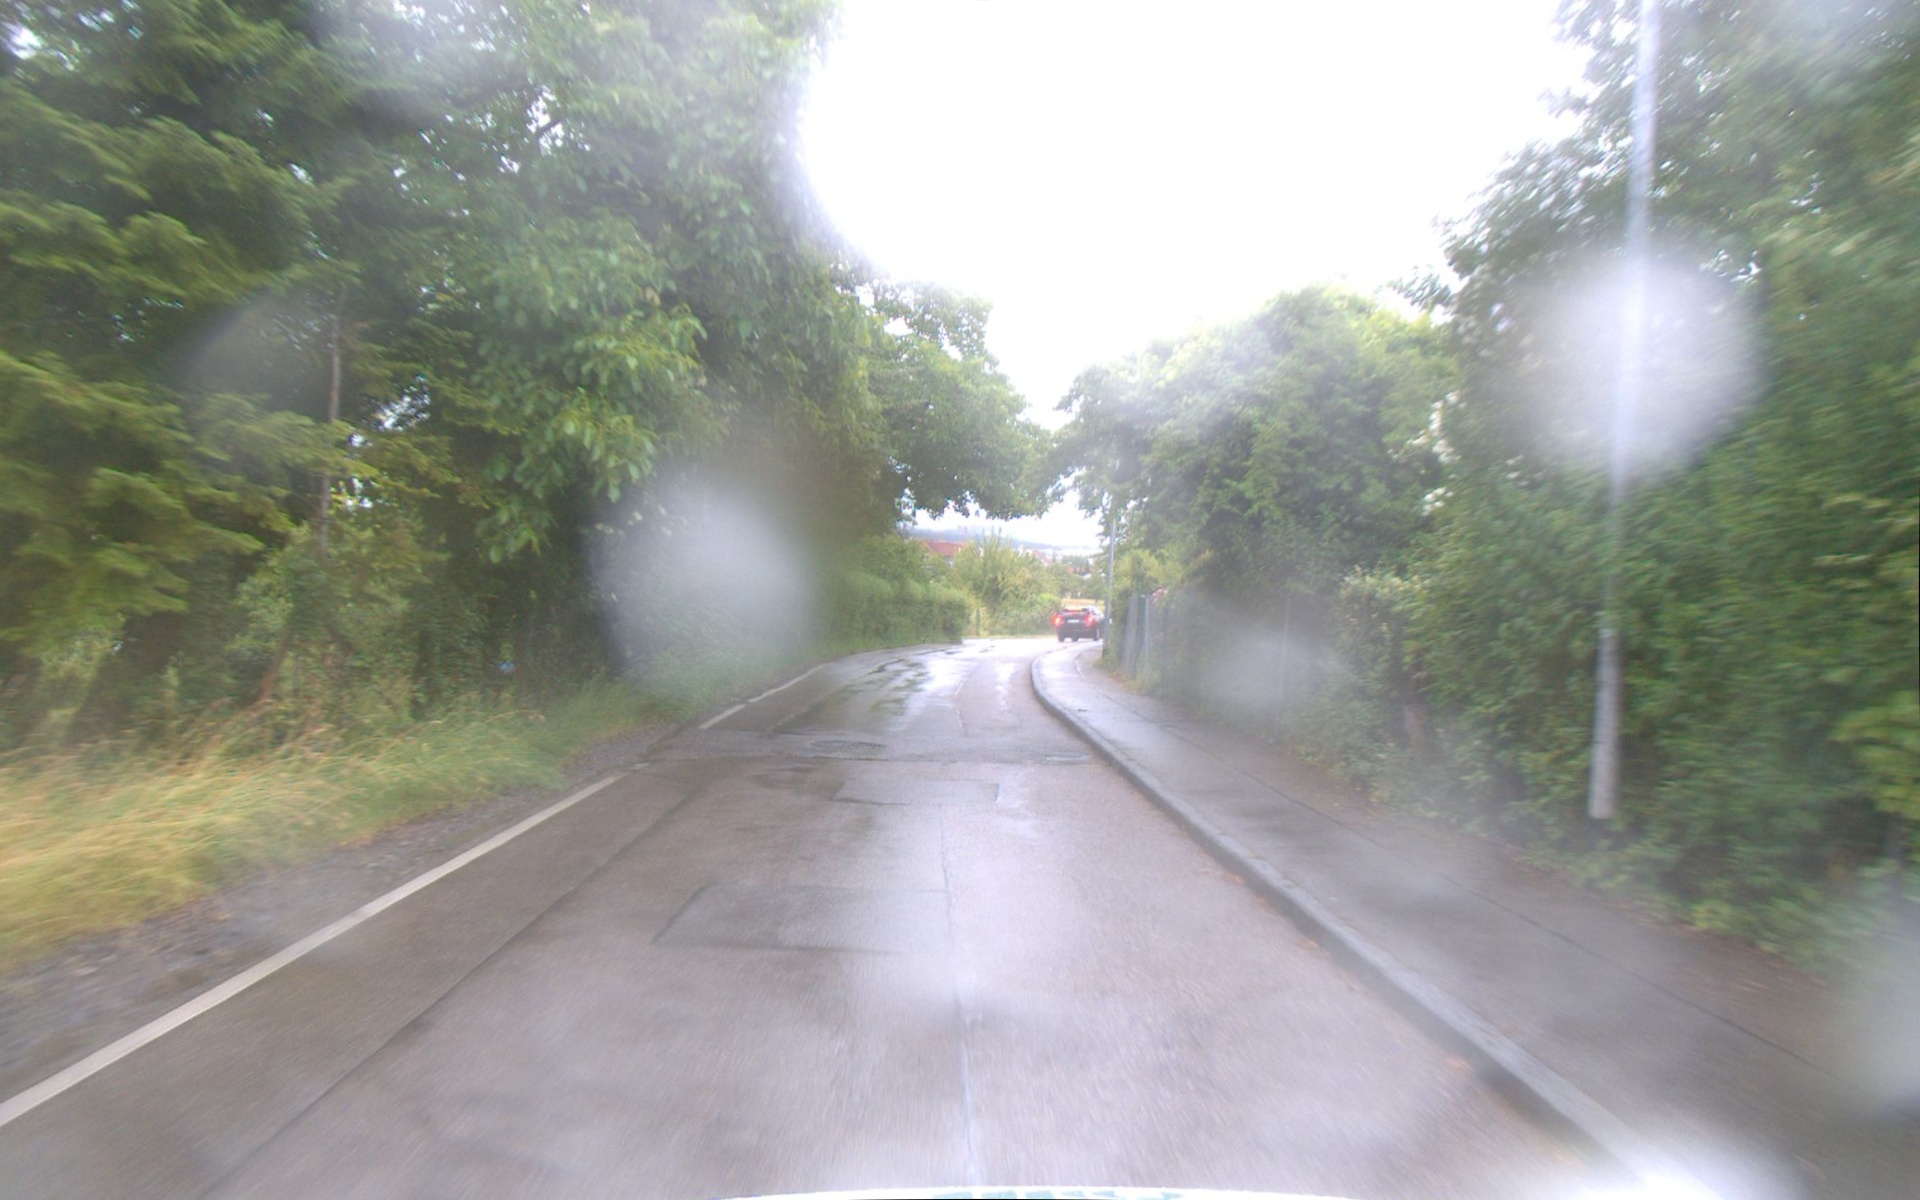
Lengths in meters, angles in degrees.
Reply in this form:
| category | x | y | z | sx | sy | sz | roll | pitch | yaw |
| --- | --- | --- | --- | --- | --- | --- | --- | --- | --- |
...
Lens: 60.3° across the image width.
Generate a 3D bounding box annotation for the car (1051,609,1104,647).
| category | x | y | z | sx | sy | sz | roll | pitch | yaw |
| --- | --- | --- | --- | --- | --- | --- | --- | --- | --- |
| car | 5.016 | 1.215 | 70.370 | 1.600 | 1.476 | 3.546 | 1 | -2 | 15 |
